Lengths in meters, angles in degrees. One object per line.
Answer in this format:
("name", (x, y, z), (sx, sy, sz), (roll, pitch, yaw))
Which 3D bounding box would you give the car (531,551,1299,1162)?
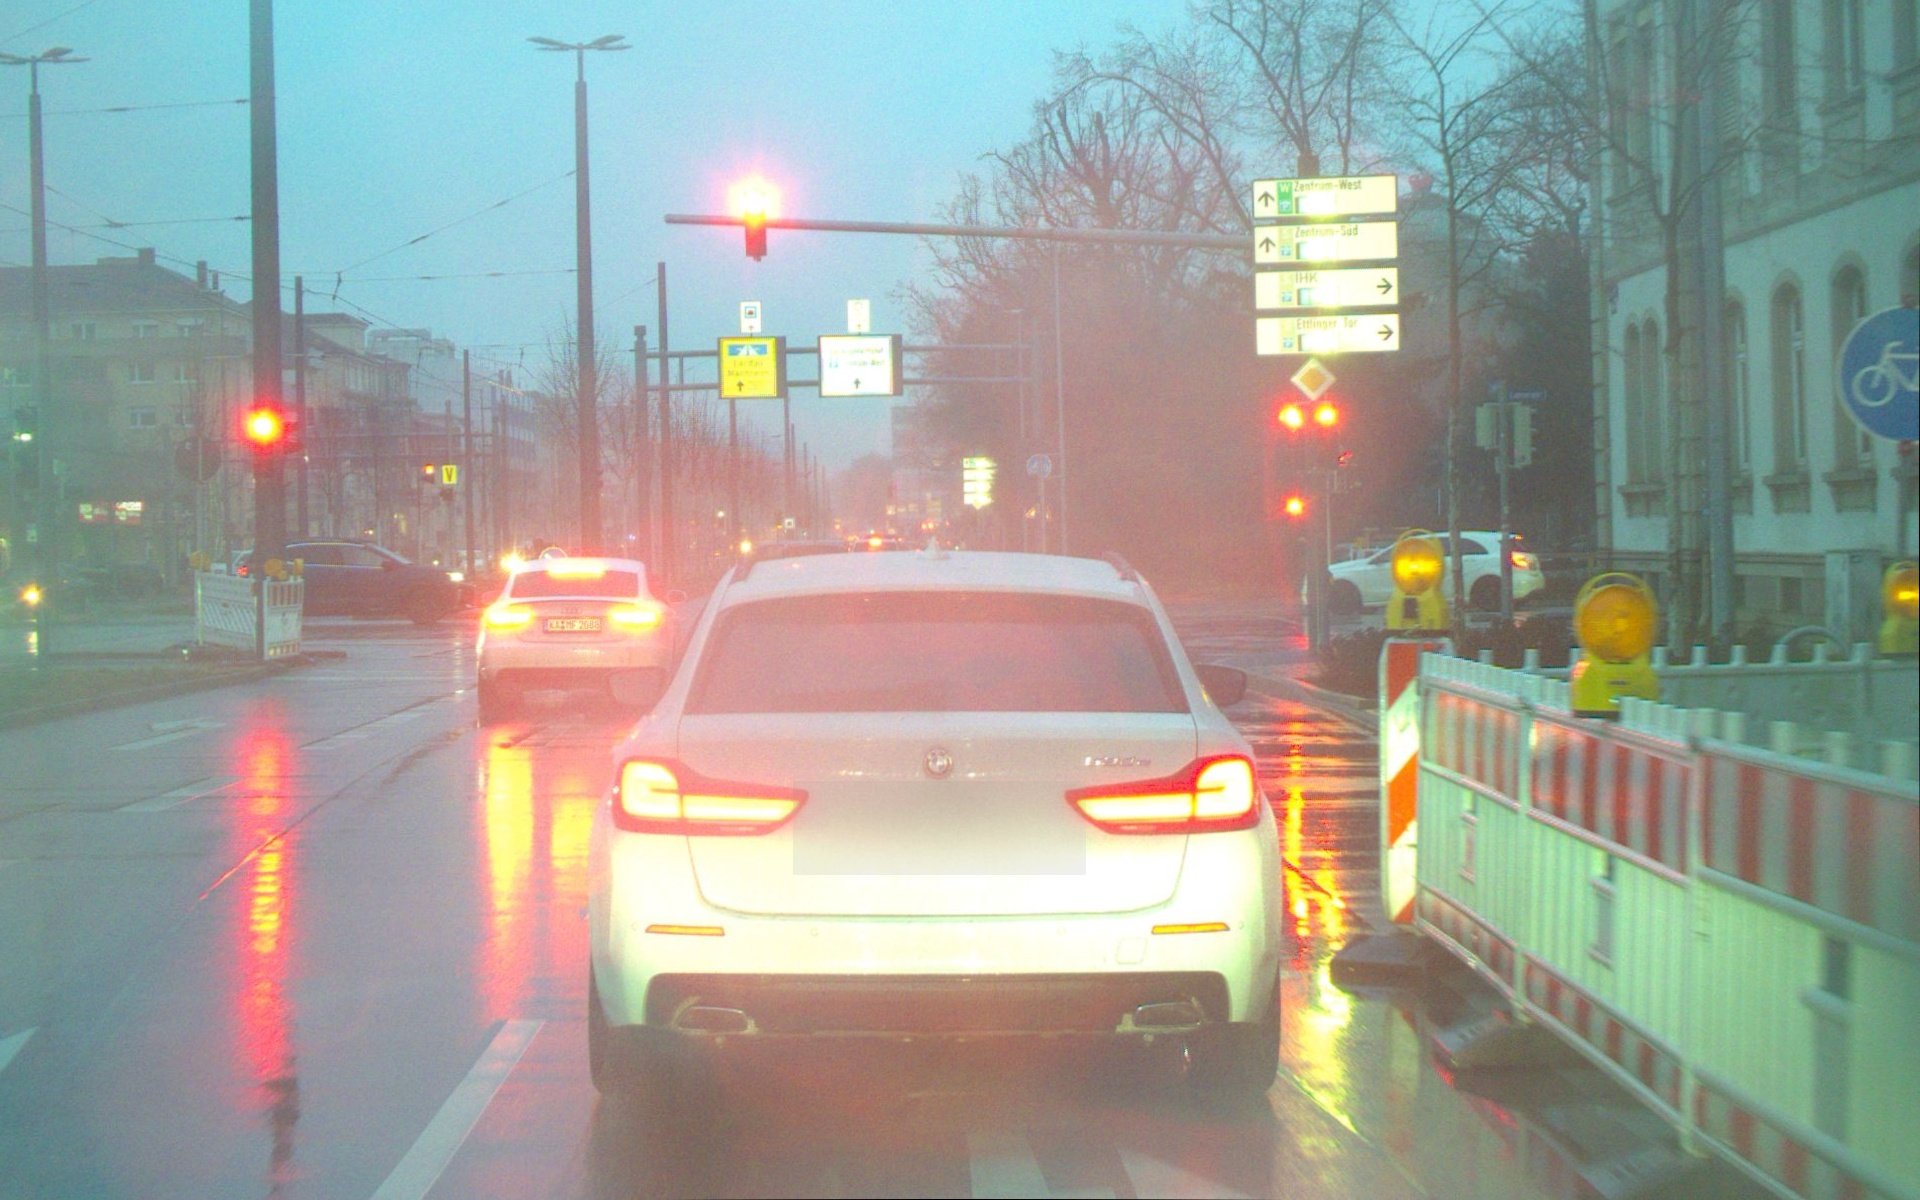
("car", (-0.174, 0.583, 10.776), (1.852, 1.460, 4.947), (0, 1, -2))

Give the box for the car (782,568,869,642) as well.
("car", (-3.047, 0.092, 78.443), (1.901, 1.636, 4.000), (0, 1, -1))

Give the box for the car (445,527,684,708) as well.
("car", (-3.736, 0.127, 33.092), (1.901, 1.636, 4.000), (0, 1, -1))

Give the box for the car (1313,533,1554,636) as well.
("car", (8.442, -0.293, 61.239), (3.990, 1.791, 1.849), (0, 1, 18))

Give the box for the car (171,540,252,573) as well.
("car", (-41.279, -2.398, 189.554), (4.212, 1.739, 1.840), (-1, 1, -7))

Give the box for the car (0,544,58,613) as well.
("car", (-23.282, -0.551, 85.073), (1.559, 1.653, 3.396), (0, 1, -9))

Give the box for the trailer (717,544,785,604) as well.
("trailer", (-5.826, -0.732, 95.893), (1.834, 1.637, 4.001), (0, 1, -3))

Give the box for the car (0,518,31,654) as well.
("car", (-15.644, -0.209, 49.987), (3.986, 1.968, 2.001), (0, 1, -19))
